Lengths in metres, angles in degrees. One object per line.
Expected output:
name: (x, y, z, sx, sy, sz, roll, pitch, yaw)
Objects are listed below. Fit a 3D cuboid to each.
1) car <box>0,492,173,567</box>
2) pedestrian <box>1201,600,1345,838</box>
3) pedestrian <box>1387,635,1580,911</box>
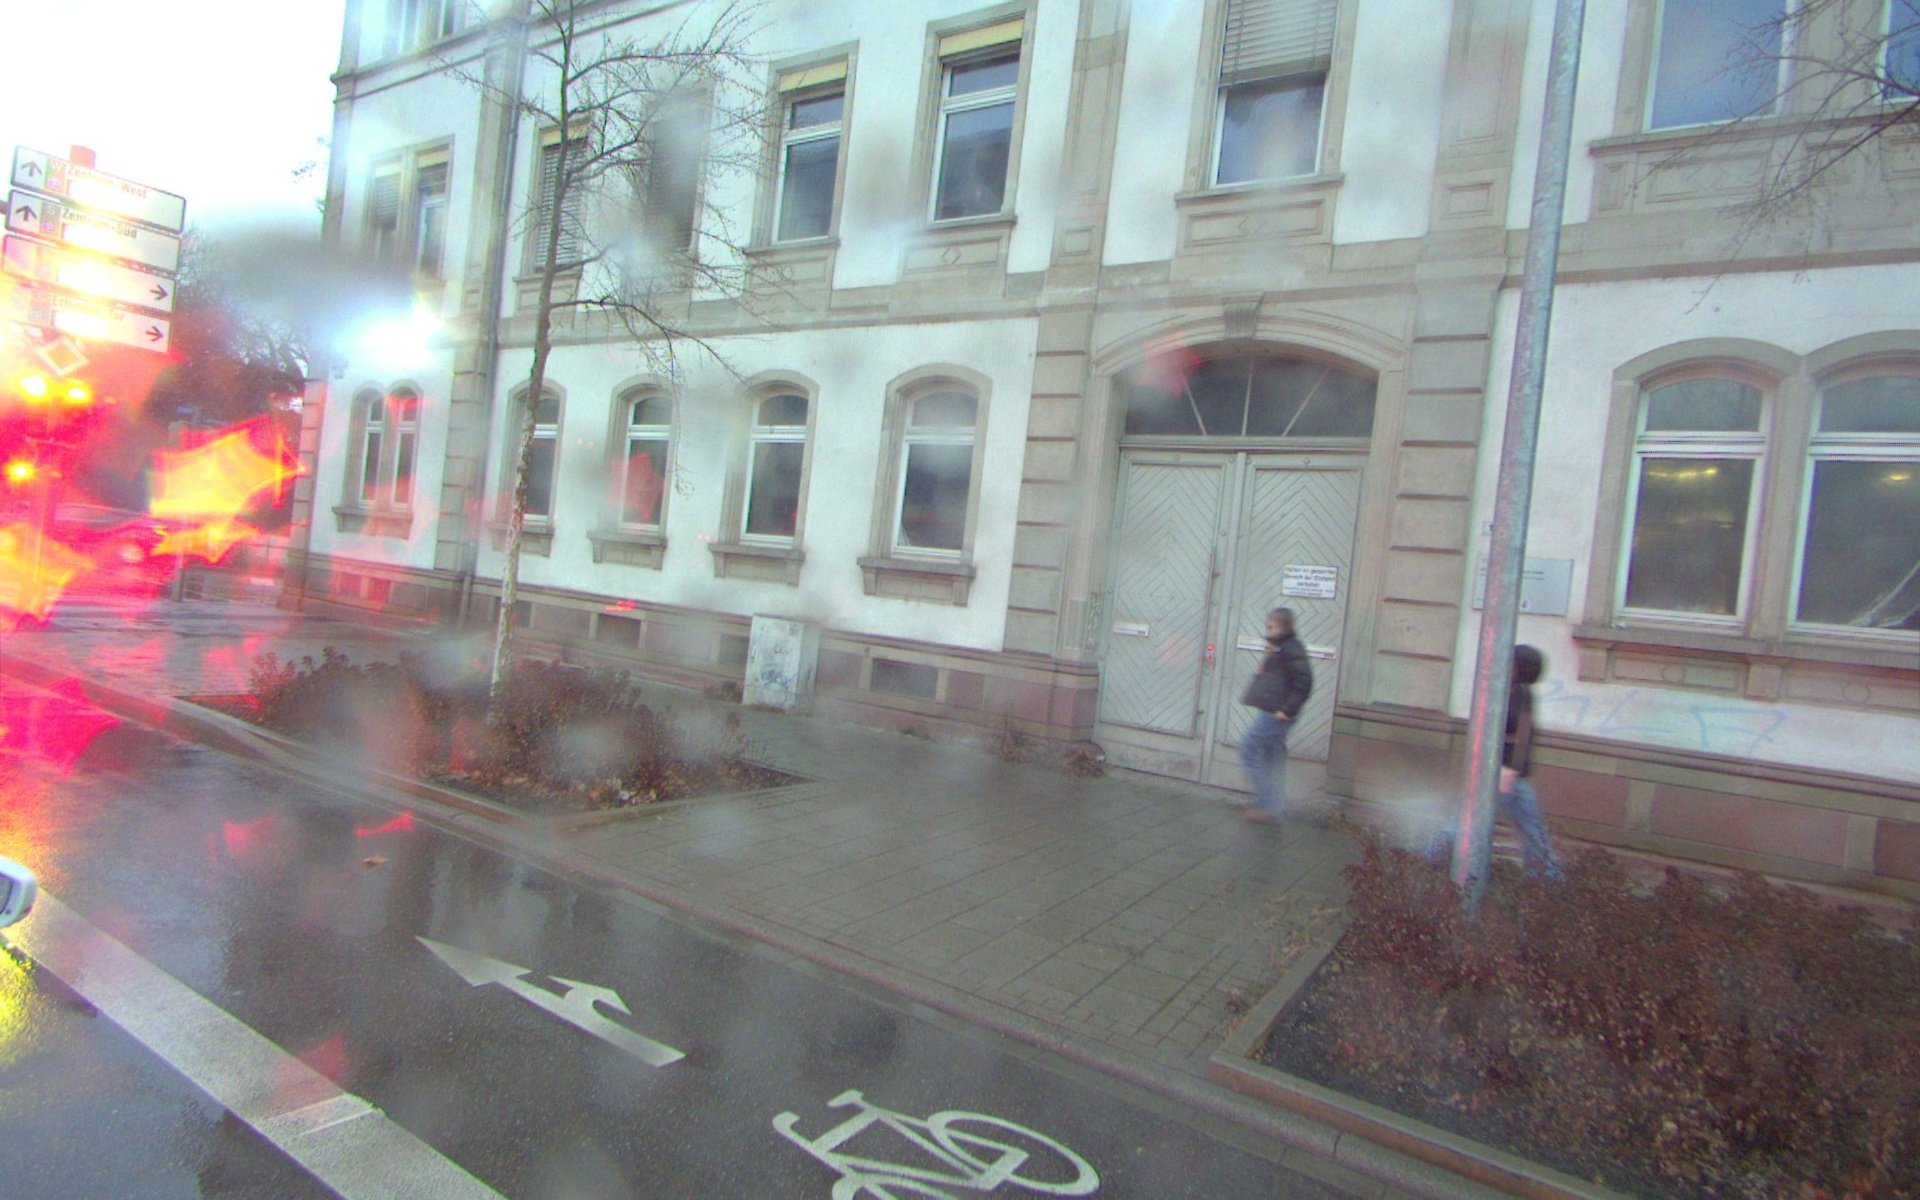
car: (-24.307, -1.917, 27.696, 3.968, 1.417, 1.741, 9, -3, -36)
pedestrian: (2.477, 0.903, 7.925, 0.695, 1.694, 0.868, 7, 1, 33)
pedestrian: (3.468, 1.077, 6.648, 0.914, 1.564, 0.869, 7, 1, 32)
